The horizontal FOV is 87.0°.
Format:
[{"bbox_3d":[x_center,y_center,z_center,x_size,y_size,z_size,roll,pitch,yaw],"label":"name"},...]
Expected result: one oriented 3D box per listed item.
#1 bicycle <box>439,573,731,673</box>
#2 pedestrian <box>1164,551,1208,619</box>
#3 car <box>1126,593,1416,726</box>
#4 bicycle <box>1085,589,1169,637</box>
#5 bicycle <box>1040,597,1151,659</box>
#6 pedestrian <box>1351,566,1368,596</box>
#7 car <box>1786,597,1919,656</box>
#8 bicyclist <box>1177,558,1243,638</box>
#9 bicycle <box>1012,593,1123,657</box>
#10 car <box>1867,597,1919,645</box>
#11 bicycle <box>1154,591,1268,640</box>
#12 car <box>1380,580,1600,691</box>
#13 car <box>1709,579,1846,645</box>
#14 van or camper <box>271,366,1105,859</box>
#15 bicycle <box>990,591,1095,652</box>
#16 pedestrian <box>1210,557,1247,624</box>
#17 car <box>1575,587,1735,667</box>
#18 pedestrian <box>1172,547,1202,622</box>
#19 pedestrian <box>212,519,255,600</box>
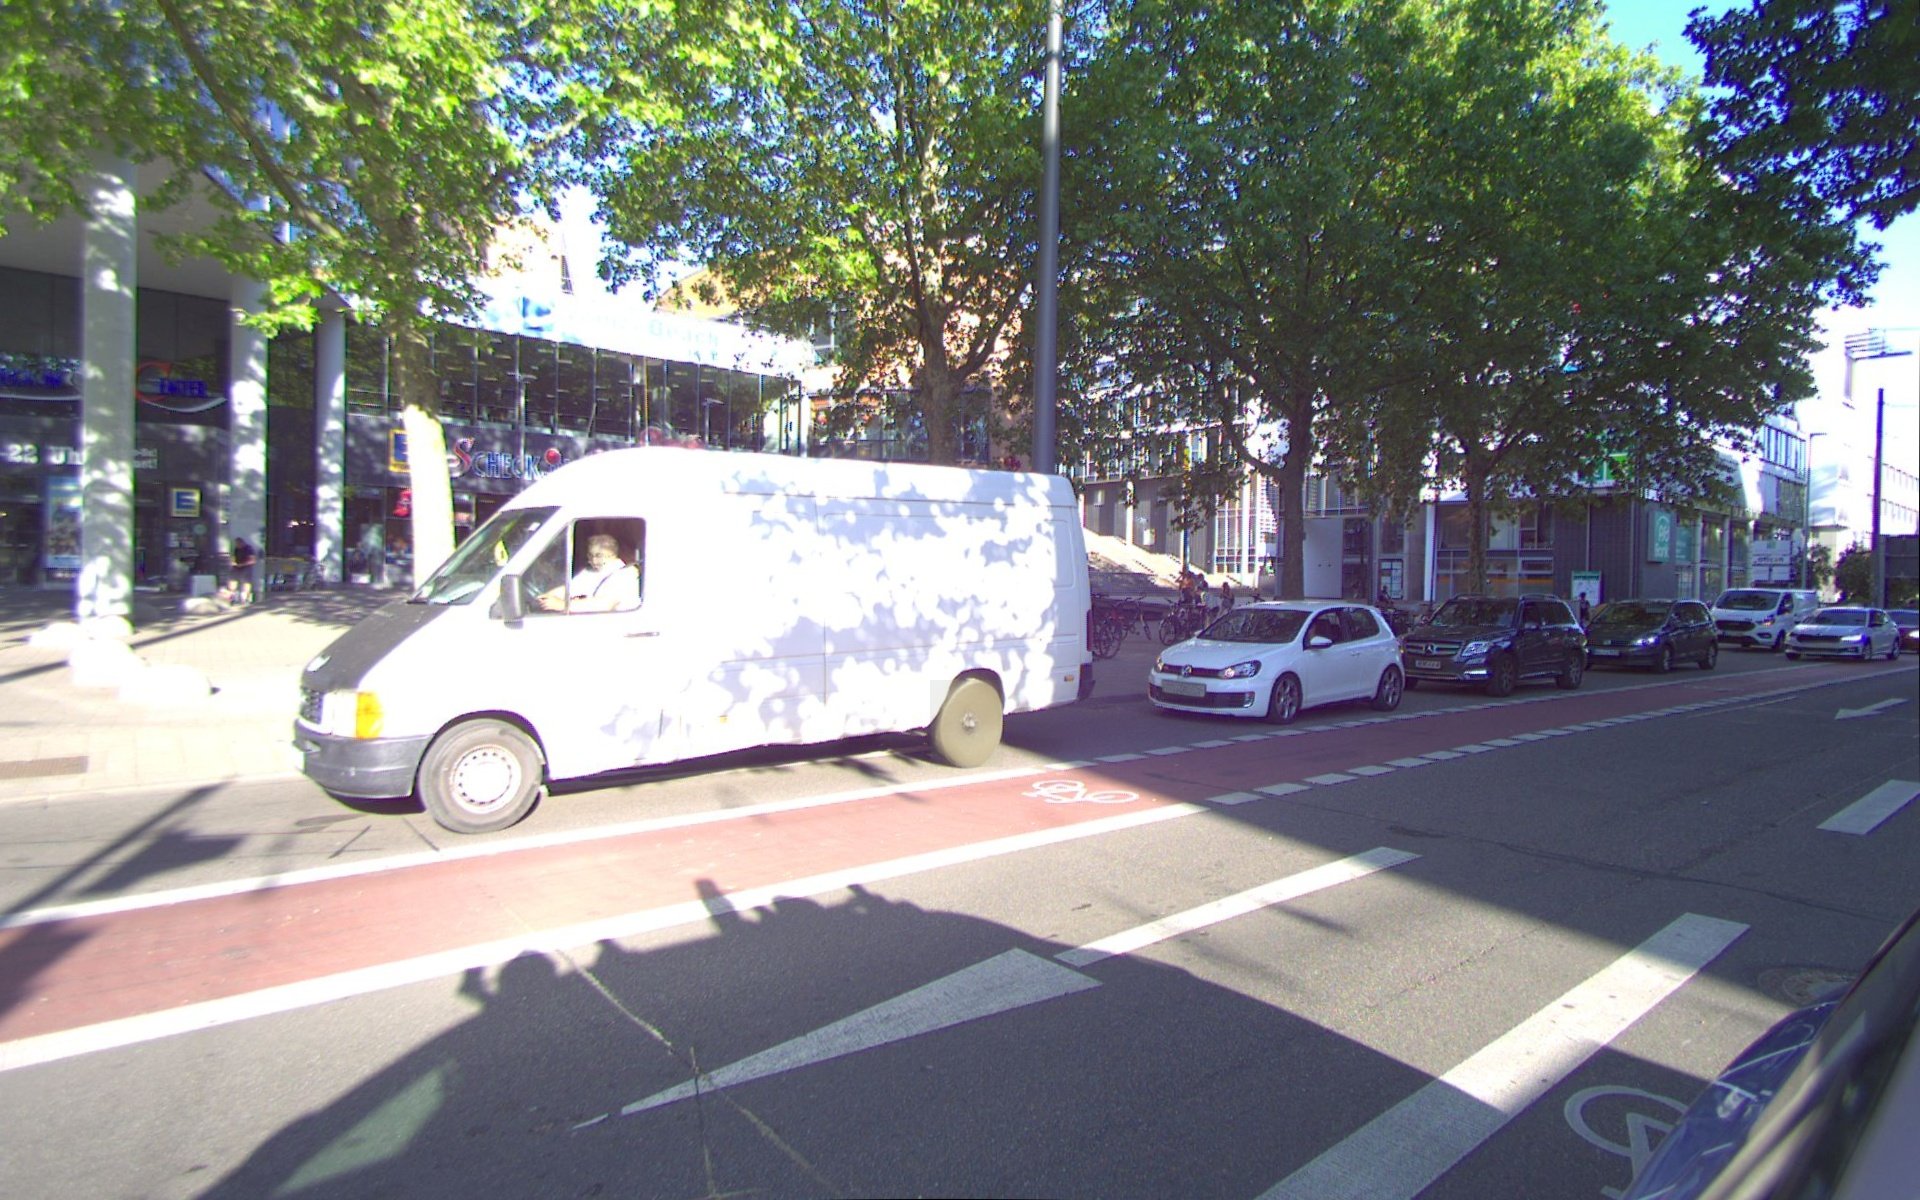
[{"bbox_3d":[-5.134,0.258,14.152,3.744,1.236,0.758,-2,1,-35],"label":"bicycle"},{"bbox_3d":[7.700,-0.497,34.476,1.195,2.276,1.052,0,0,-3],"label":"pedestrian"},{"bbox_3d":[4.067,0.646,12.977,3.914,1.446,1.639,0,0,-38],"label":"car"},{"bbox_3d":[4.498,0.313,27.113,2.653,1.215,0.698,-1,1,-41],"label":"bicycle"},{"bbox_3d":[2.578,0.495,19.055,2.295,1.073,0.682,-1,1,-39],"label":"bicycle"},{"bbox_3d":[27.673,-1.329,70.053,0.860,2.039,0.796,0,0,-41],"label":"pedestrian"},{"bbox_3d":[24.749,0.685,27.967,4.114,1.508,1.838,0,0,-33],"label":"car"},{"bbox_3d":[6.589,-0.077,26.731,1.132,2.039,1.301,0,1,-24],"label":"bicyclist"},{"bbox_3d":[2.139,0.453,19.908,2.355,1.177,0.750,-1,0,-40],"label":"bicycle"},{"bbox_3d":[31.462,0.672,33.352,4.121,1.508,1.834,0,-1,-41],"label":"car"},{"bbox_3d":[6.567,0.377,26.779,1.124,1.097,3.342,0,2,-23],"label":"bicycle"},{"bbox_3d":[9.024,0.525,17.105,4.172,1.656,1.769,0,0,-38],"label":"car"},{"bbox_3d":[26.519,0.355,32.770,5.805,1.989,1.935,0,0,-35],"label":"car"},{"bbox_3d":[-1.682,0.034,8.311,6.385,2.647,2.003,0,1,-41],"label":"van or camper"},{"bbox_3d":[1.697,0.409,20.490,2.263,1.177,0.671,-1,0,-38],"label":"bicycle"},{"bbox_3d":[9.205,-0.338,34.683,0.884,2.261,0.845,0,0,-19],"label":"pedestrian"},{"bbox_3d":[15.819,0.561,22.970,4.308,1.656,1.711,0,0,-37],"label":"car"},{"bbox_3d":[8.190,-0.548,36.522,0.967,2.681,0.897,0,0,18],"label":"pedestrian"},{"bbox_3d":[-18.761,-1.038,26.157,0.843,2.039,1.024,0,0,-34],"label":"pedestrian"}]
